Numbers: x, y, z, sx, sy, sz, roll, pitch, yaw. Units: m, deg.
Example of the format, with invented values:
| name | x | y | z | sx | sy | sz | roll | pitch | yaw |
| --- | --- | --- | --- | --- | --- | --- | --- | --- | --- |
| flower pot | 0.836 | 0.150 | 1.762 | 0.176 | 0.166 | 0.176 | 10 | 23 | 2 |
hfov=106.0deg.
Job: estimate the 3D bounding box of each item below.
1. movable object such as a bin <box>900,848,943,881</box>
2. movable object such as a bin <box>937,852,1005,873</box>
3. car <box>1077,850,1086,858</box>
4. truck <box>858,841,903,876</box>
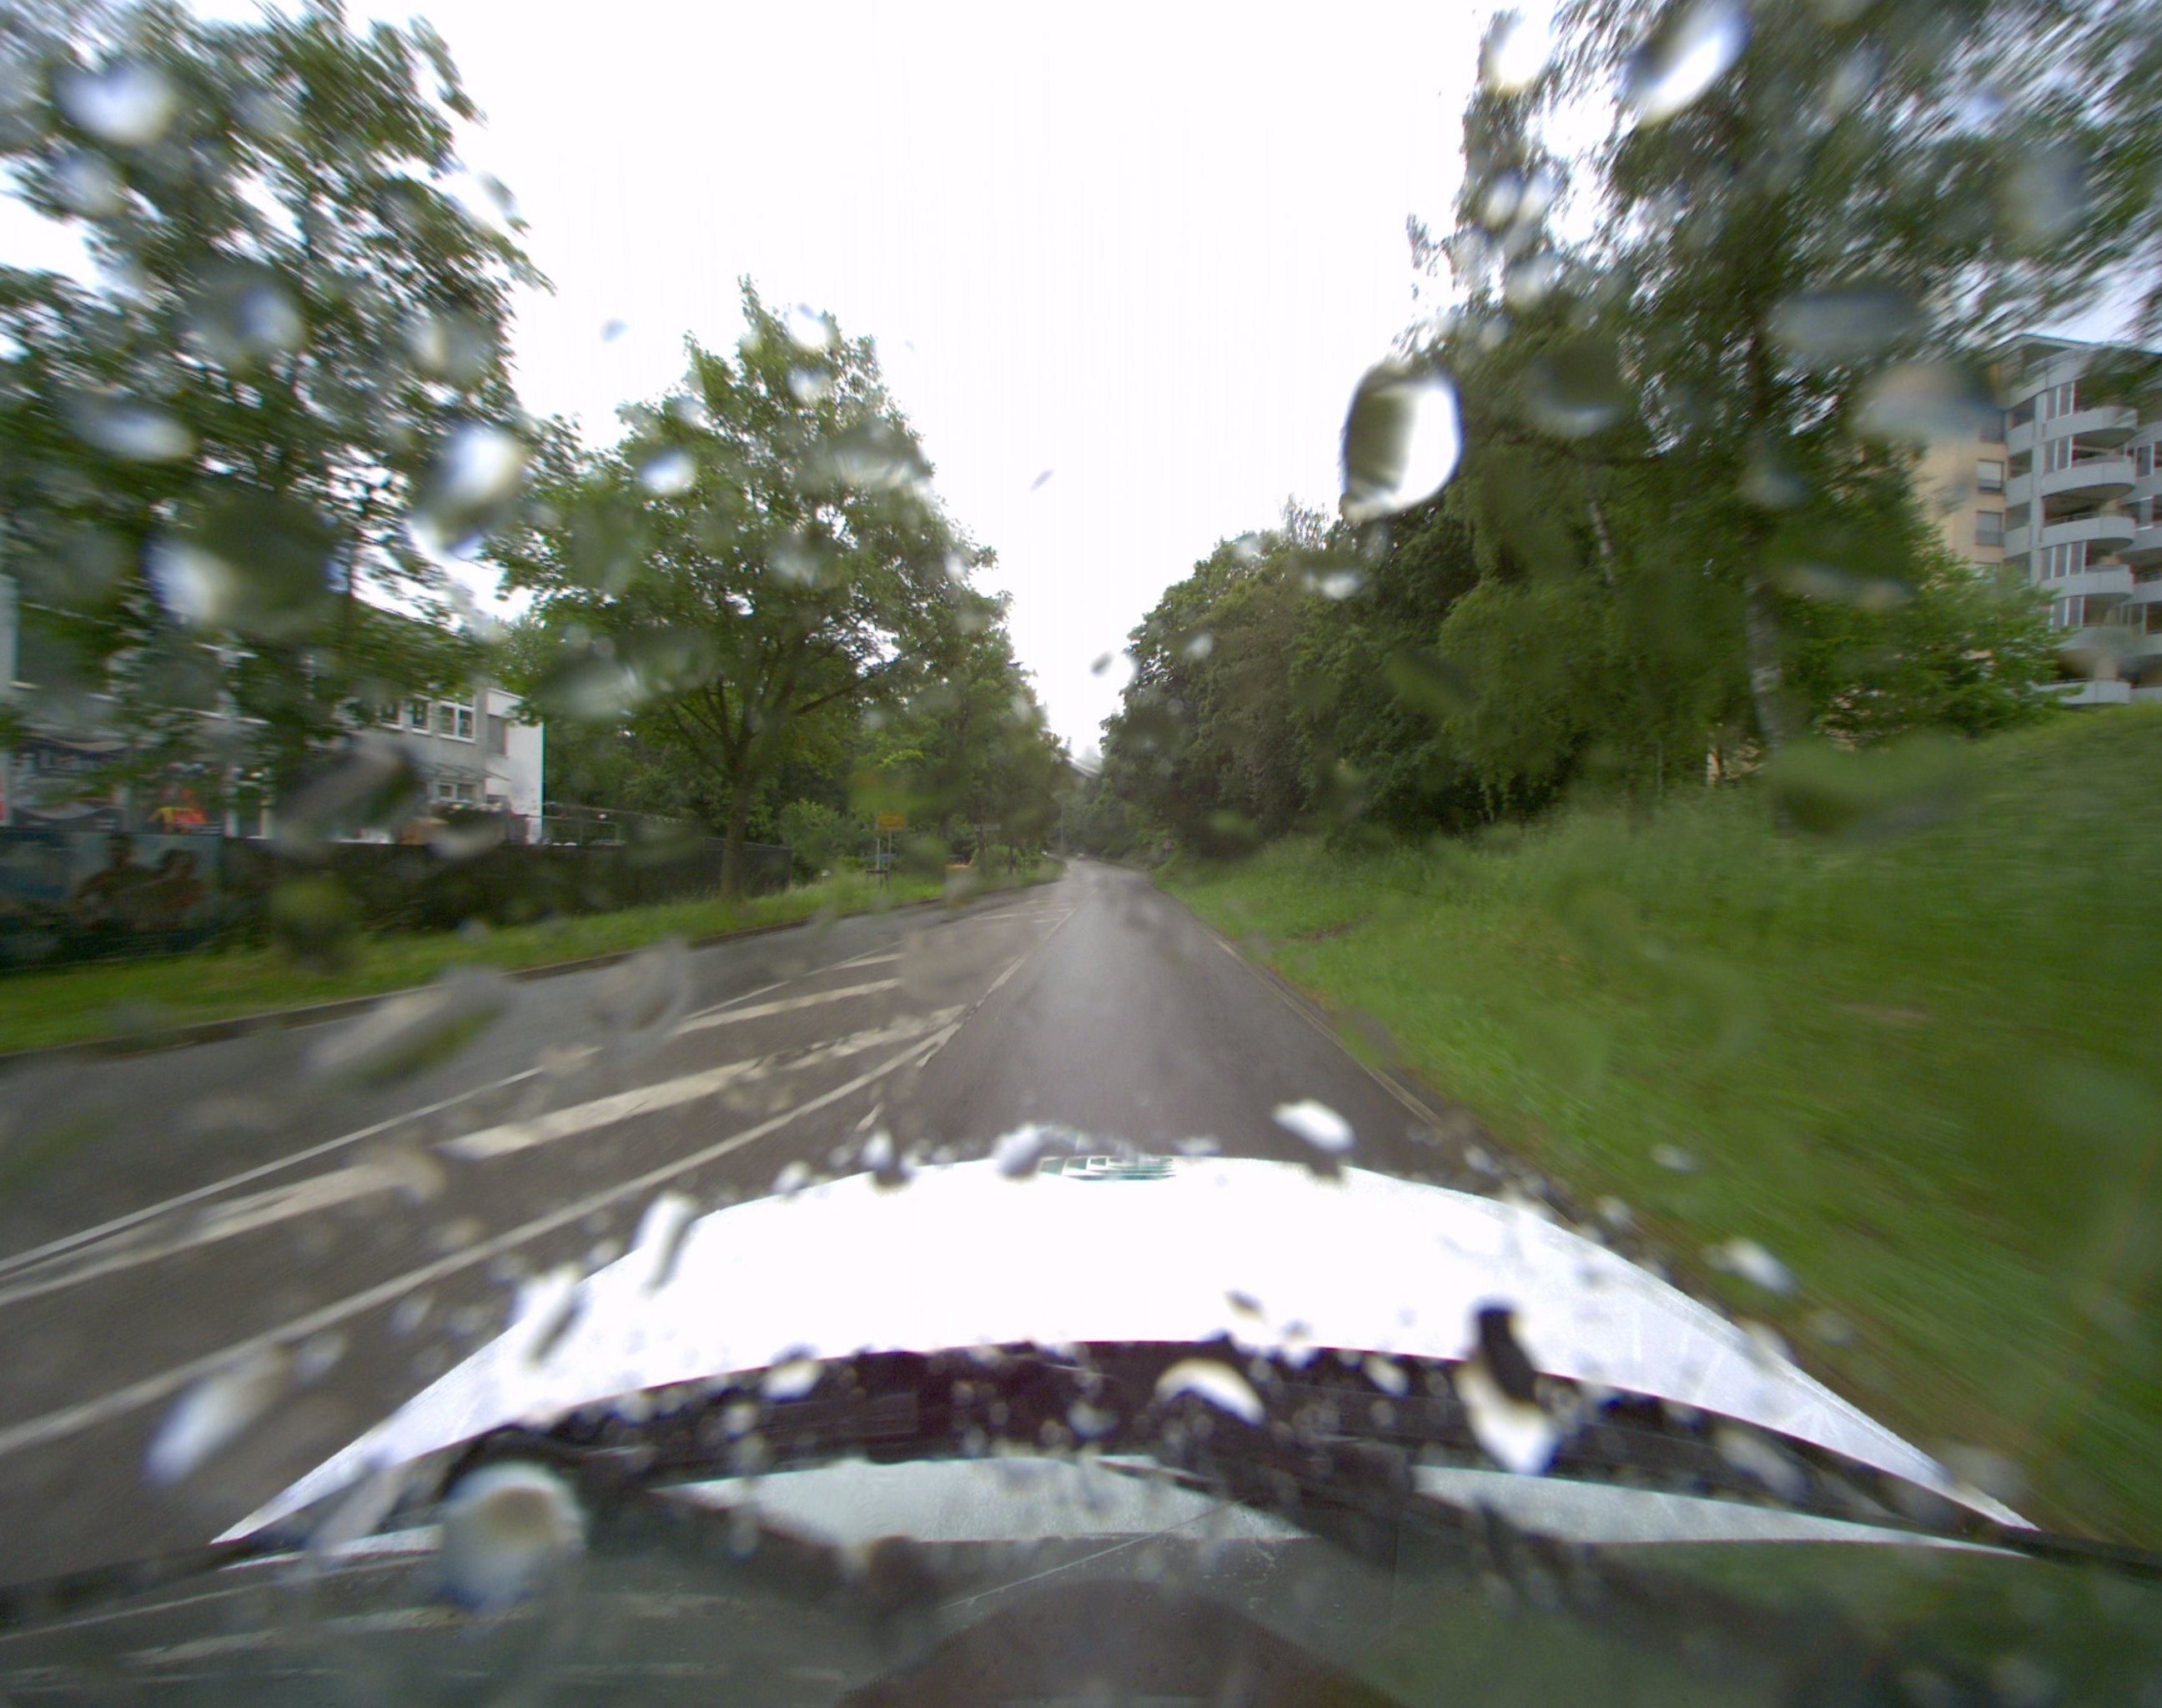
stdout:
| name | x | y | z | sx | sy | sz | roll | pitch | yaw |
| --- | --- | --- | --- | --- | --- | --- | --- | --- | --- |
| movable object such as a bin | -14.168 | 0.907 | 72.574 | 1.978 | 2.861 | 4.018 | 0 | -1 | 17 |
| movable object such as a bin | -10.603 | 0.791 | 79.400 | 1.828 | 1.908 | 7.958 | -1 | 0 | 33 |
| car | 0.132 | -0.027 | 170.892 | 1.731 | 1.510 | 4.000 | -2 | 0 | 1 |
| truck | -14.992 | 0.291 | 61.254 | 1.987 | 2.458 | 5.223 | 1 | 1 | 0 |
